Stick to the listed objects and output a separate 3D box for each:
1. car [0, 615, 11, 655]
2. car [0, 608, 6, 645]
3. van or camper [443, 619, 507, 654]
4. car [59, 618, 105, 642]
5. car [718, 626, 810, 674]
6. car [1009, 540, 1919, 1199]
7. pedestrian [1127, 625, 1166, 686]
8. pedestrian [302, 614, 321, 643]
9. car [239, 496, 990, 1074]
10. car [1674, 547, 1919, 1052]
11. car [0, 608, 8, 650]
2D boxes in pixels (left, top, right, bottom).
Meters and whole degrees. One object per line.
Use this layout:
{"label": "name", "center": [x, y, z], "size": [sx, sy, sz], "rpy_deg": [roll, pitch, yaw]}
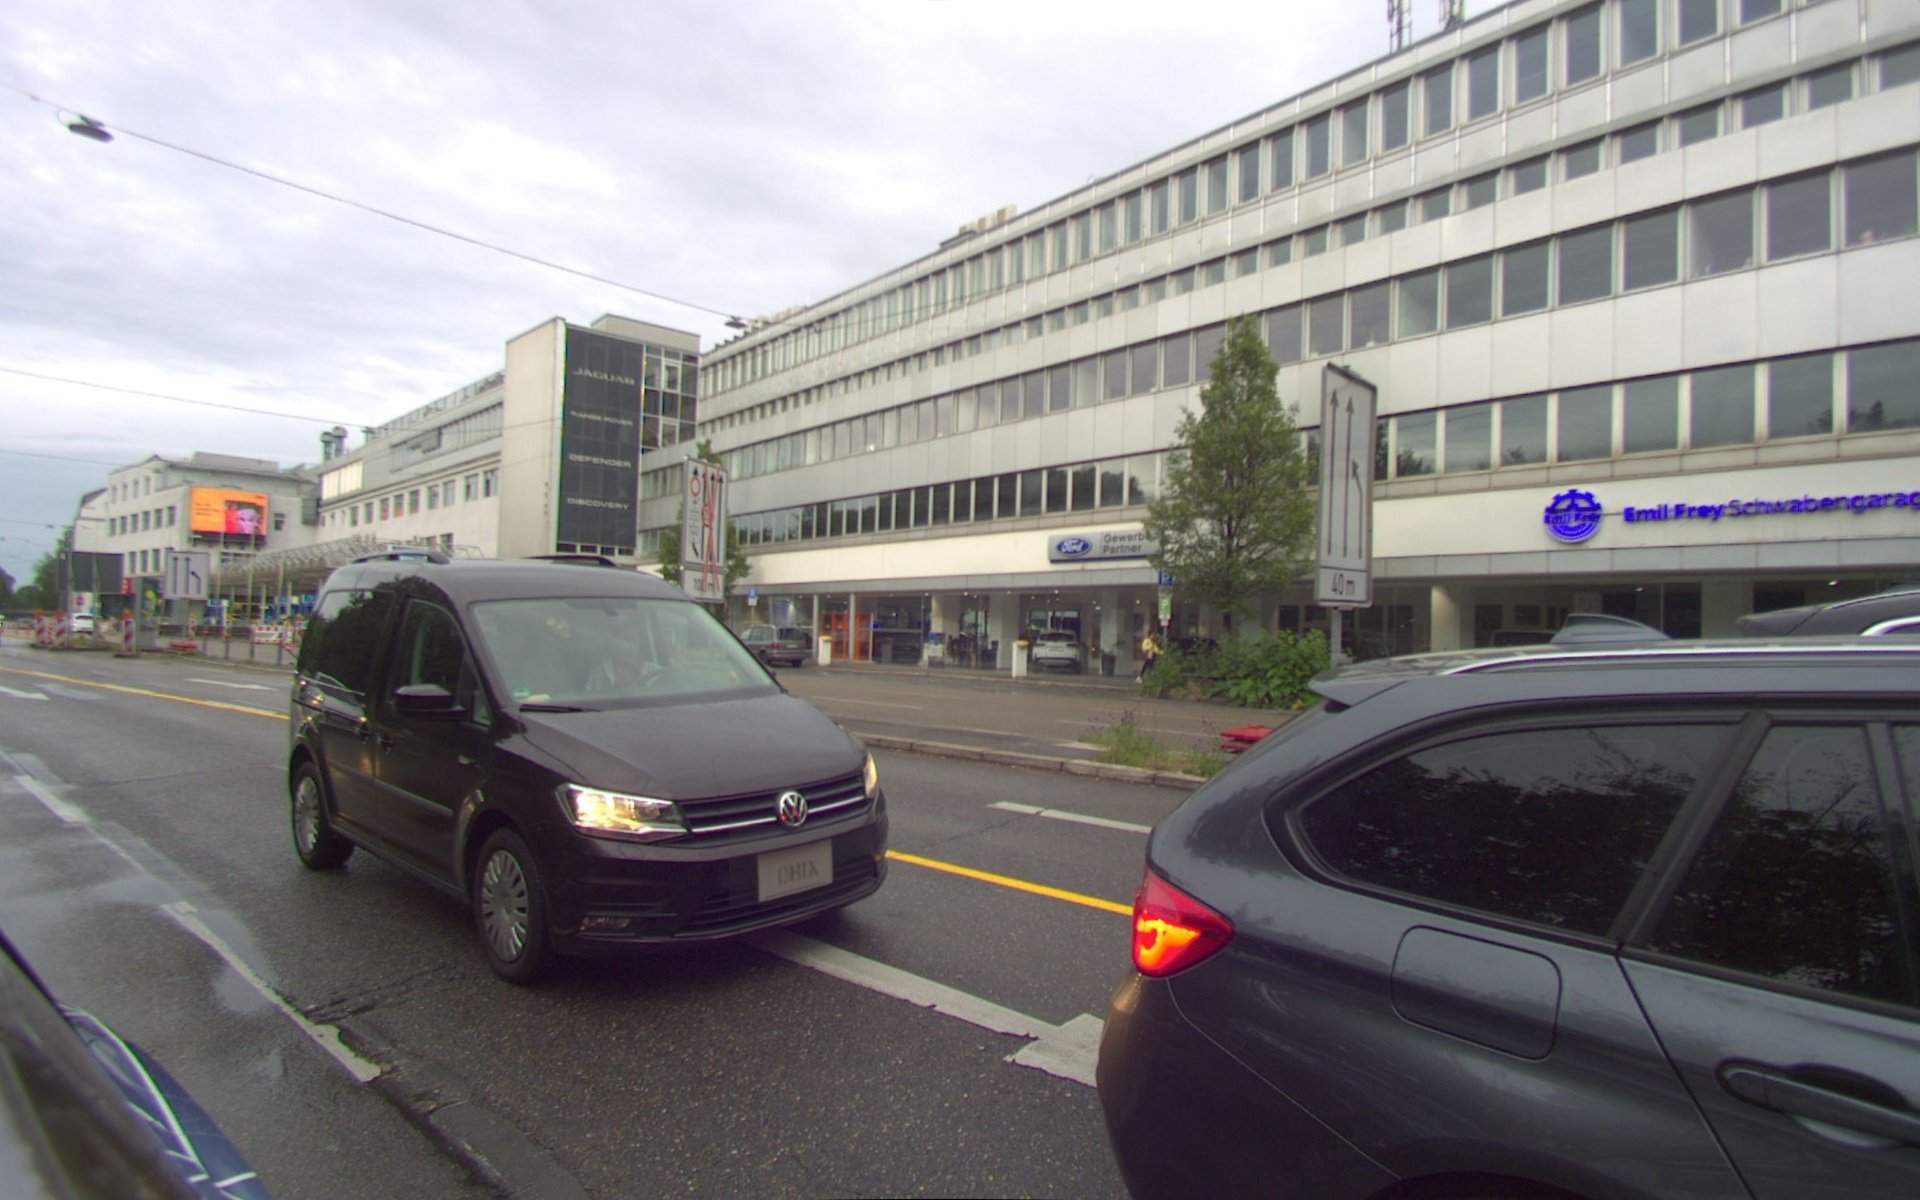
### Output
{"label": "car", "center": [-36.209, 1.287, 37.101], "size": [4.333, 1.425, 1.747], "rpy_deg": [-1, 0, 43]}
{"label": "car", "center": [-44.399, 1.203, 45.633], "size": [3.948, 1.629, 1.747], "rpy_deg": [-1, 0, 43]}
{"label": "van or camper", "center": [-27.790, 2.052, 57.961], "size": [1.913, 1.938, 4.688], "rpy_deg": [3, -3, -43]}
{"label": "car", "center": [-61.857, 2.107, 71.270], "size": [3.761, 1.544, 1.782], "rpy_deg": [-2, -6, 40]}
{"label": "car", "center": [-8.354, 2.073, 42.994], "size": [1.895, 1.829, 4.169], "rpy_deg": [-1, 0, -44]}
{"label": "car", "center": [2.337, 0.690, 1.078], "size": [4.476, 1.469, 1.757], "rpy_deg": [-1, -3, 42]}
{"label": "pedestrian", "center": [5.649, 1.660, 30.596], "size": [0.750, 1.788, 0.865], "rpy_deg": [-1, 0, -42]}
{"label": "pedestrian", "center": [-42.570, 1.859, 66.440], "size": [0.882, 1.828, 0.942], "rpy_deg": [-1, 0, -45]}
{"label": "car", "center": [-2.134, 0.596, 5.394], "size": [4.429, 1.828, 1.880], "rpy_deg": [-1, 0, 42]}
{"label": "car", "center": [4.908, 0.637, 2.919], "size": [4.445, 1.668, 1.789], "rpy_deg": [-1, 0, 44]}
{"label": "car", "center": [-39.658, 1.164, 40.671], "size": [4.333, 1.650, 1.747], "rpy_deg": [-1, 0, 43]}
